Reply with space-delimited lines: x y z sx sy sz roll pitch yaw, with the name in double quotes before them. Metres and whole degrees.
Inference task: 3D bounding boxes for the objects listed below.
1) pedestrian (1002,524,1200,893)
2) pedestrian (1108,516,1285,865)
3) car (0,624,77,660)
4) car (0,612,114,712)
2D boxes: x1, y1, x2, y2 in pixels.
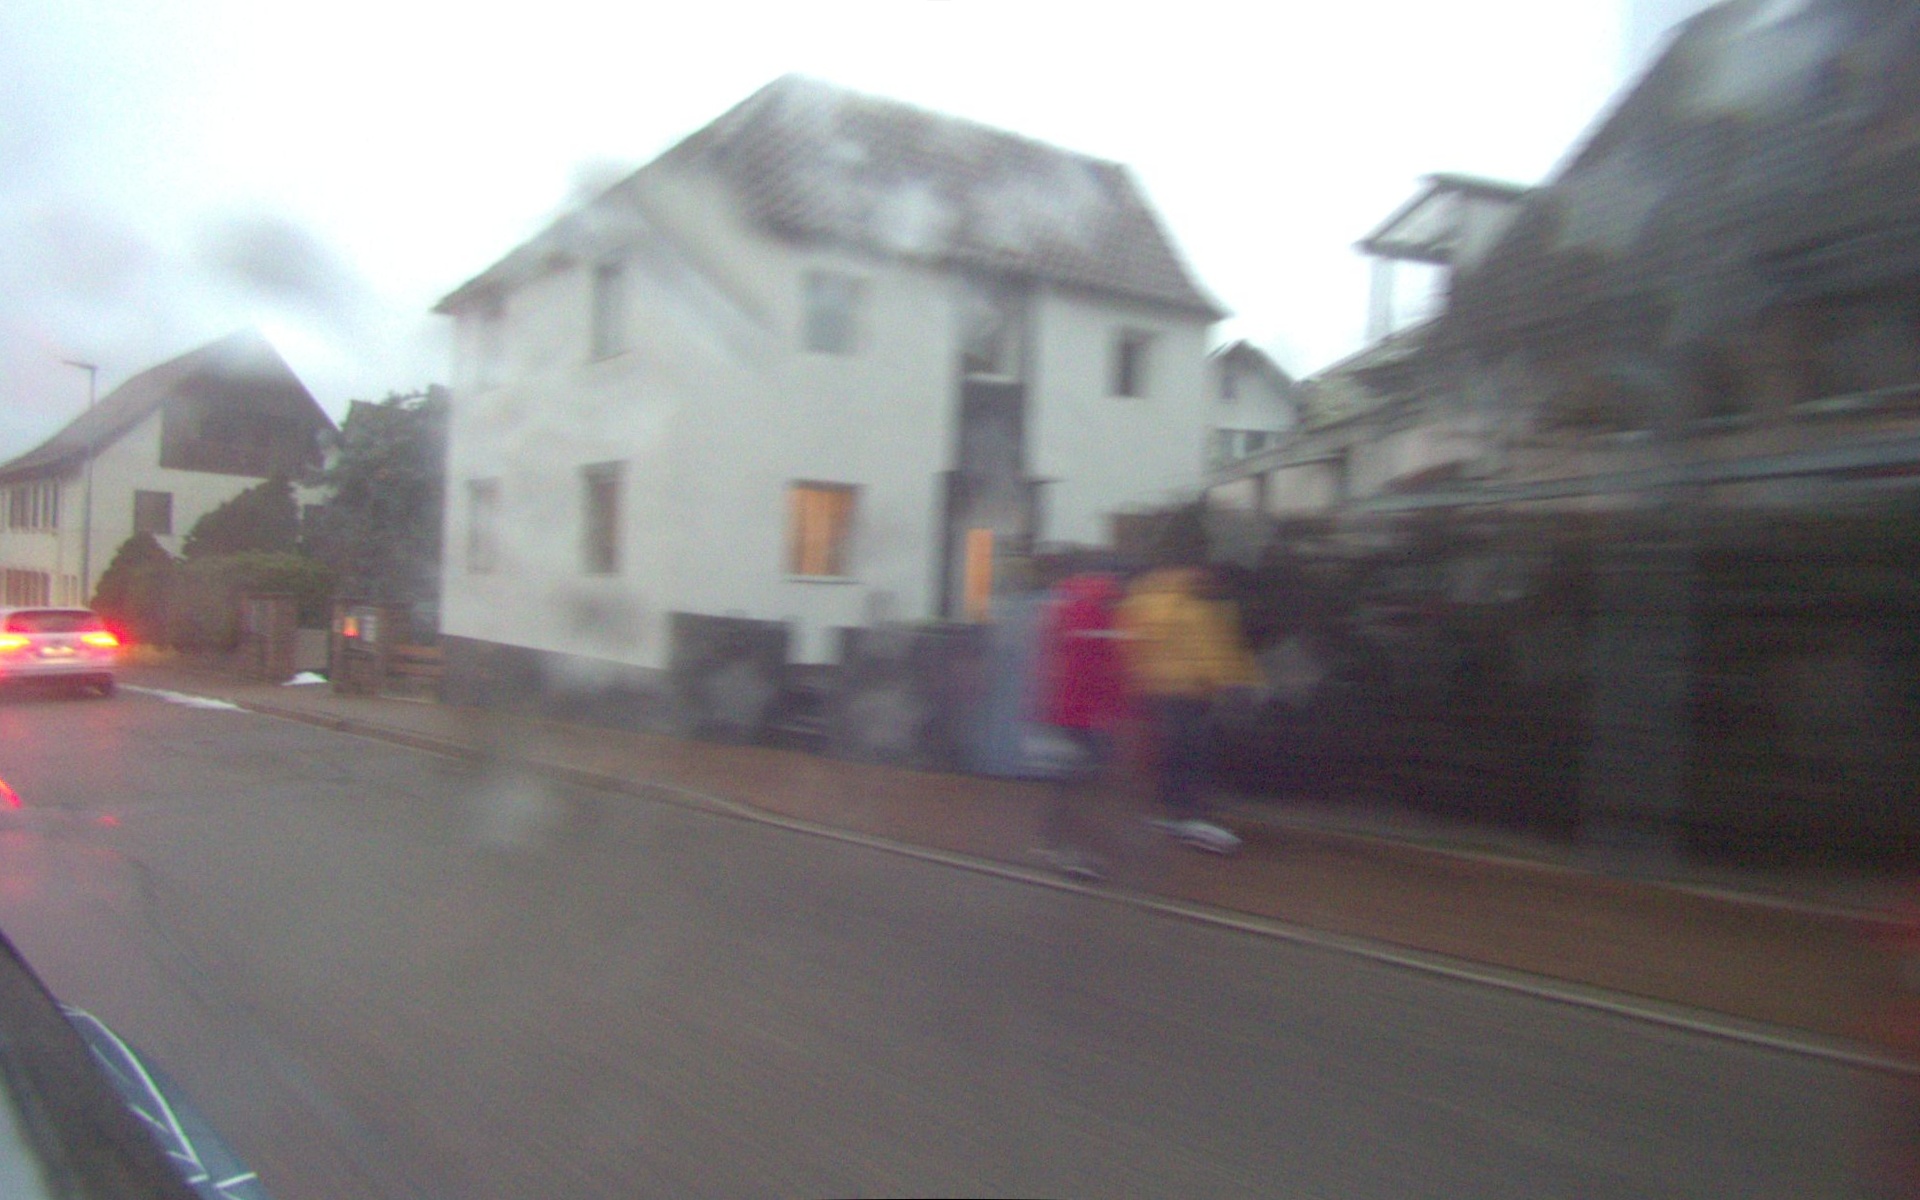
"pedestrian" 0.758 0.525 5.449 0.812 1.792 0.698 0 0 42
"pedestrian" 1.389 0.480 5.945 0.811 1.883 0.592 0 2 41
"car" -40.728 1.777 43.405 4.183 1.436 1.997 0 0 5
"car" -16.792 1.036 18.414 4.001 1.592 1.738 0 0 44
